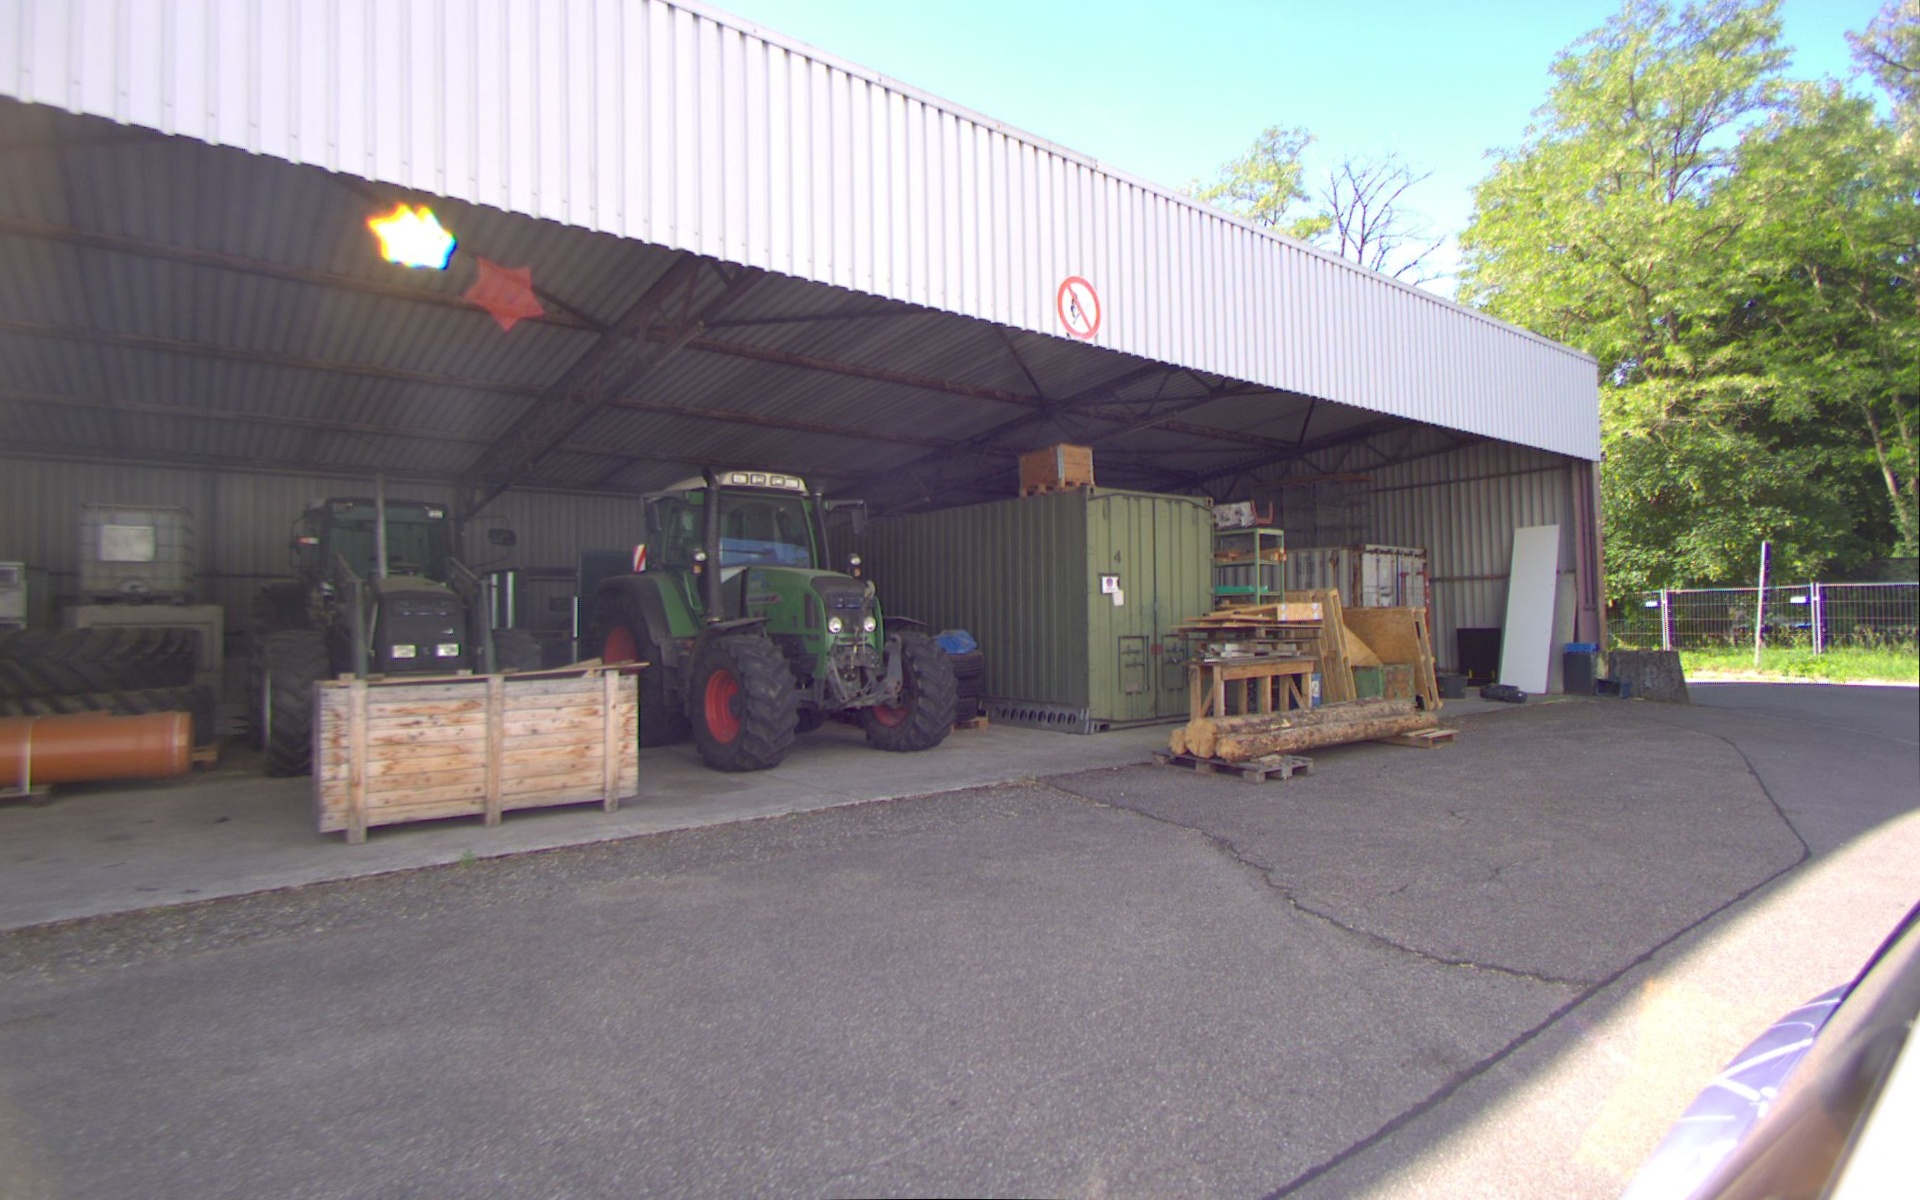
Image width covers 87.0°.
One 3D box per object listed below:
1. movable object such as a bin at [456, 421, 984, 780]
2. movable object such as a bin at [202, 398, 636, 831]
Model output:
[{"bbox_3d":[-3.795,0.150,12.944,3.152,2.948,9.214,0,-2,-37],"label":"movable object such as a bin"},{"bbox_3d":[-5.829,0.193,10.269,2.960,2.948,6.200,0,-2,-37],"label":"movable object such as a bin"}]
